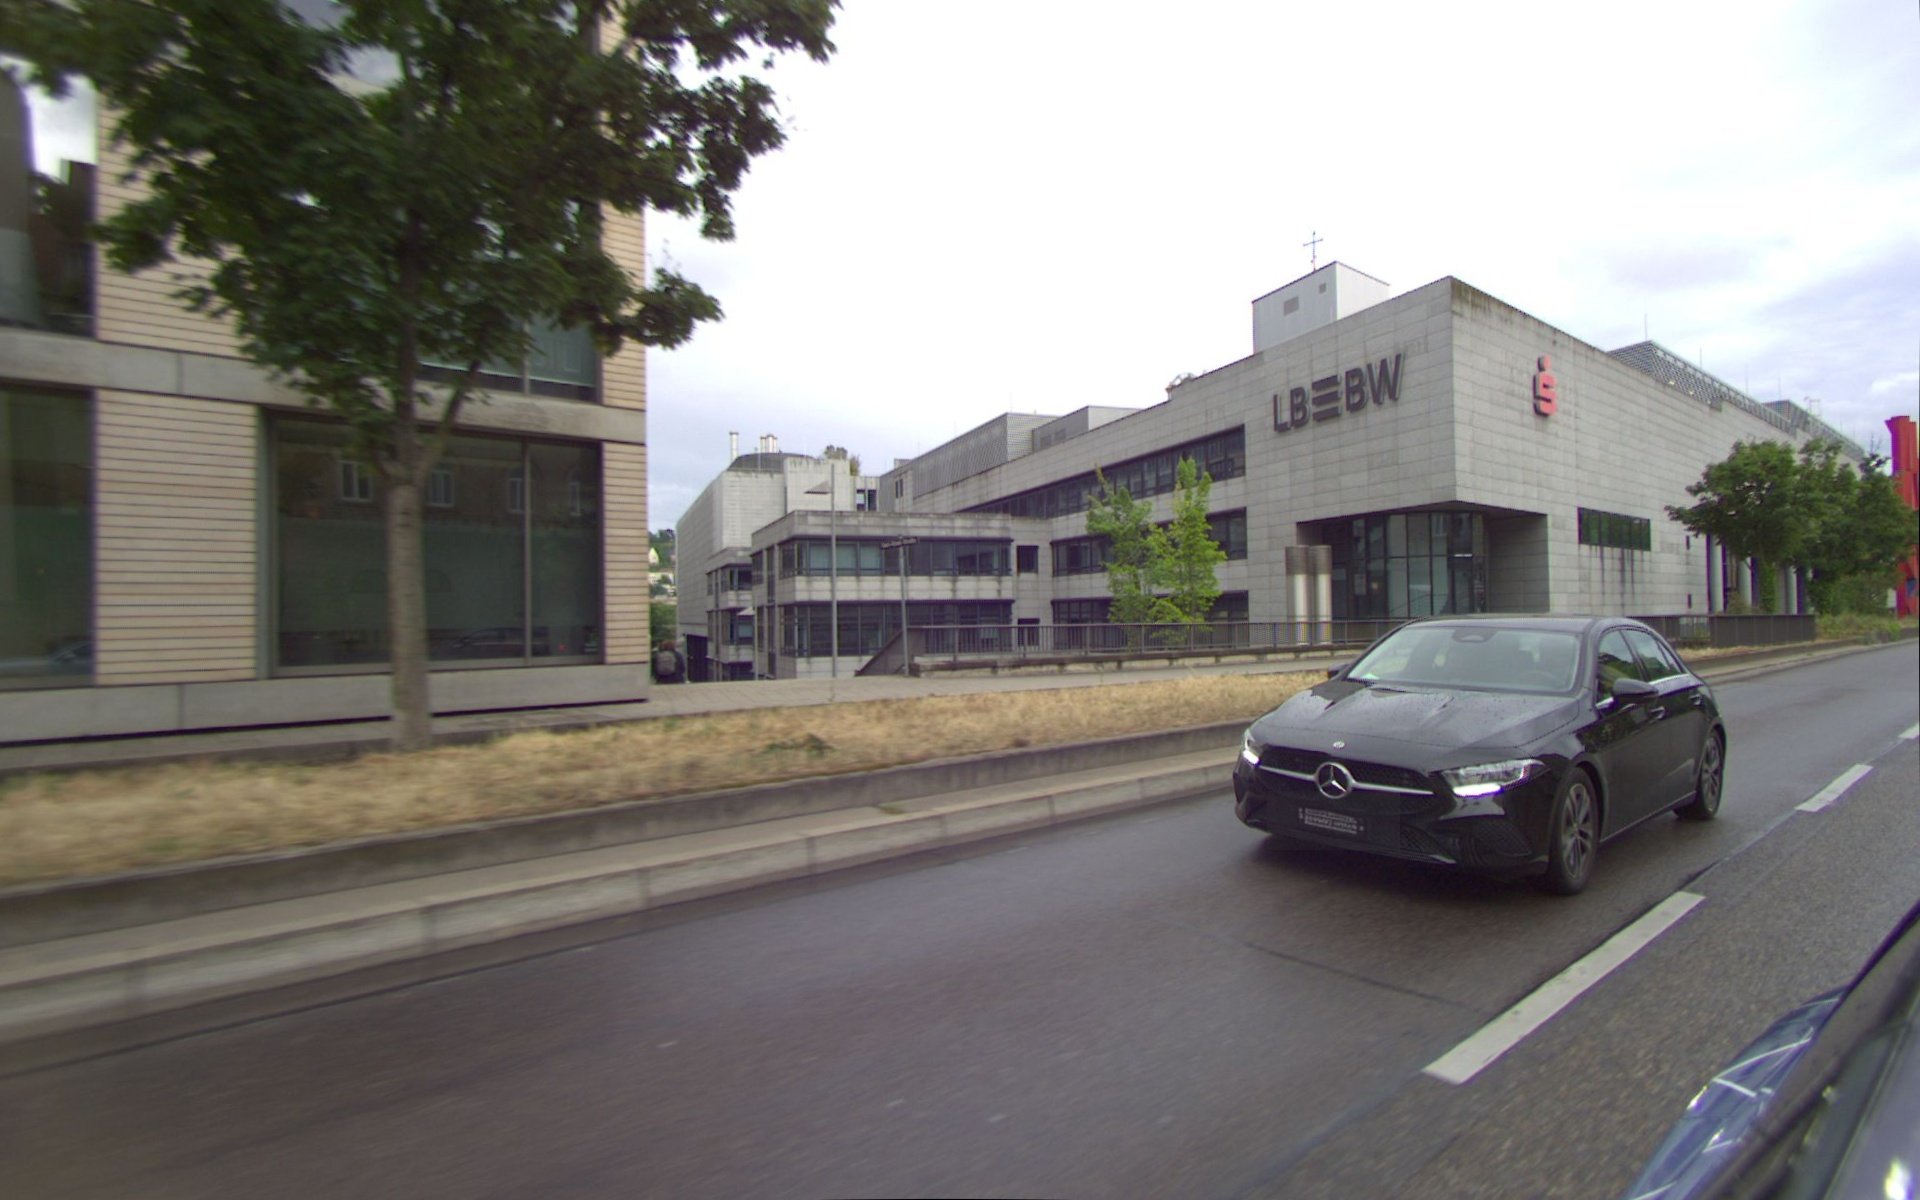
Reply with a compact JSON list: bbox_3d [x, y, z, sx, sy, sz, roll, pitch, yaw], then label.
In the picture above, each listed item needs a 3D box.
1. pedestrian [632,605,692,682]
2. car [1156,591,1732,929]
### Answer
[{"bbox_3d":[-5.472,0.779,18.559,0.949,1.357,0.879,0,-1,-23],"label":"pedestrian"},{"bbox_3d":[3.278,0.733,6.451,4.132,1.455,1.875,2,-2,-42],"label":"car"}]
